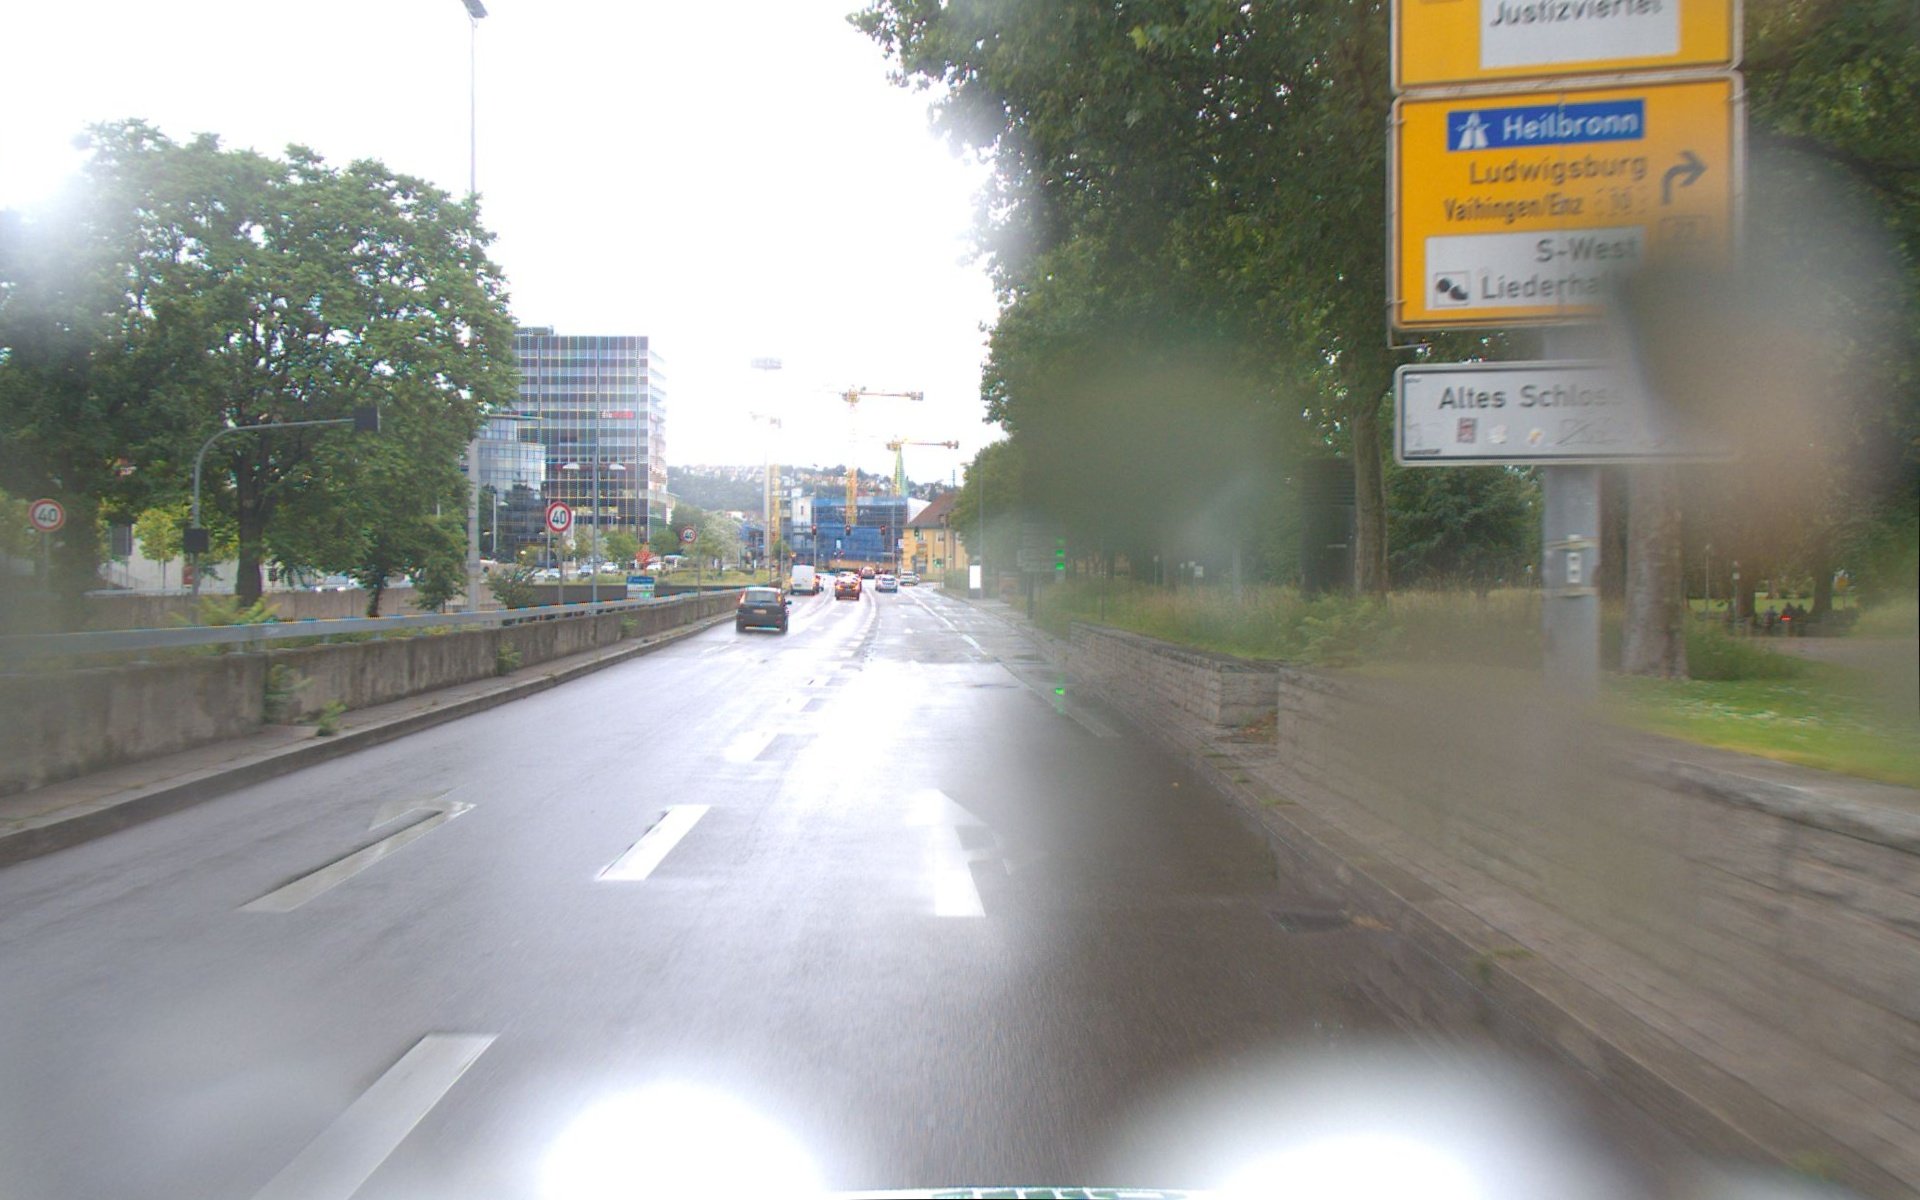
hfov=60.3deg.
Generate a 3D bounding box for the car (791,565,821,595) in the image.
[{"bbox_3d":[-12.556,-1.611,135.209,2.247,2.354,5.002,1,0,-3],"label":"car"}]

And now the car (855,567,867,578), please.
[{"bbox_3d":[-13.879,-3.885,232.737,1.449,1.384,3.135,1,0,0],"label":"car"}]

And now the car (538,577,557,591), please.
[{"bbox_3d":[-43.170,-1.683,173.143,1.317,1.376,2.930,1,0,-2],"label":"car"}]

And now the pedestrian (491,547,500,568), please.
[{"bbox_3d":[-48.032,-4.424,171.077,0.752,2.126,0.726,1,5,-5],"label":"pedestrian"}]

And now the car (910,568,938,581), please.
[{"bbox_3d":[-4.525,-3.191,207.830,1.522,1.570,3.602,1,0,43],"label":"car"}]

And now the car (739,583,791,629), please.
[{"bbox_3d":[-6.476,0.193,55.131,1.512,1.440,3.898,1,0,-4],"label":"car"}]

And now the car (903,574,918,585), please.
[{"bbox_3d":[-5.543,-2.315,186.918,1.603,1.194,3.265,1,-1,-1],"label":"car"}]

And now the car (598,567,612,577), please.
[{"bbox_3d":[-48.365,-3.858,225.605,1.380,1.277,3.164,1,0,-4],"label":"car"}]

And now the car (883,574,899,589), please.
[{"bbox_3d":[-6.368,-1.709,153.330,1.415,1.383,2.411,1,0,-1],"label":"car"}]

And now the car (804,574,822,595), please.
[{"bbox_3d":[-12.605,-1.313,141.938,1.436,1.736,3.137,1,0,-6],"label":"car"}]

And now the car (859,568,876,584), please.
[{"bbox_3d":[-12.314,-3.202,220.607,2.117,1.912,3.770,1,0,-1],"label":"car"}]

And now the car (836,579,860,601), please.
[{"bbox_3d":[-8.469,-0.801,124.729,1.719,1.496,4.219,1,2,-5],"label":"car"}]

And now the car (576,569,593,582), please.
[{"bbox_3d":[-44.487,-2.875,195.998,1.435,1.465,2.960,1,0,-4],"label":"car"}]

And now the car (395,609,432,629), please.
[{"bbox_3d":[-33.757,1.161,102.184,1.458,1.149,3.048,1,0,-4],"label":"car"}]

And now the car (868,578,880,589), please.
[{"bbox_3d":[-8.255,-1.602,159.454,1.055,1.007,1.971,1,-1,-1],"label":"car"}]
